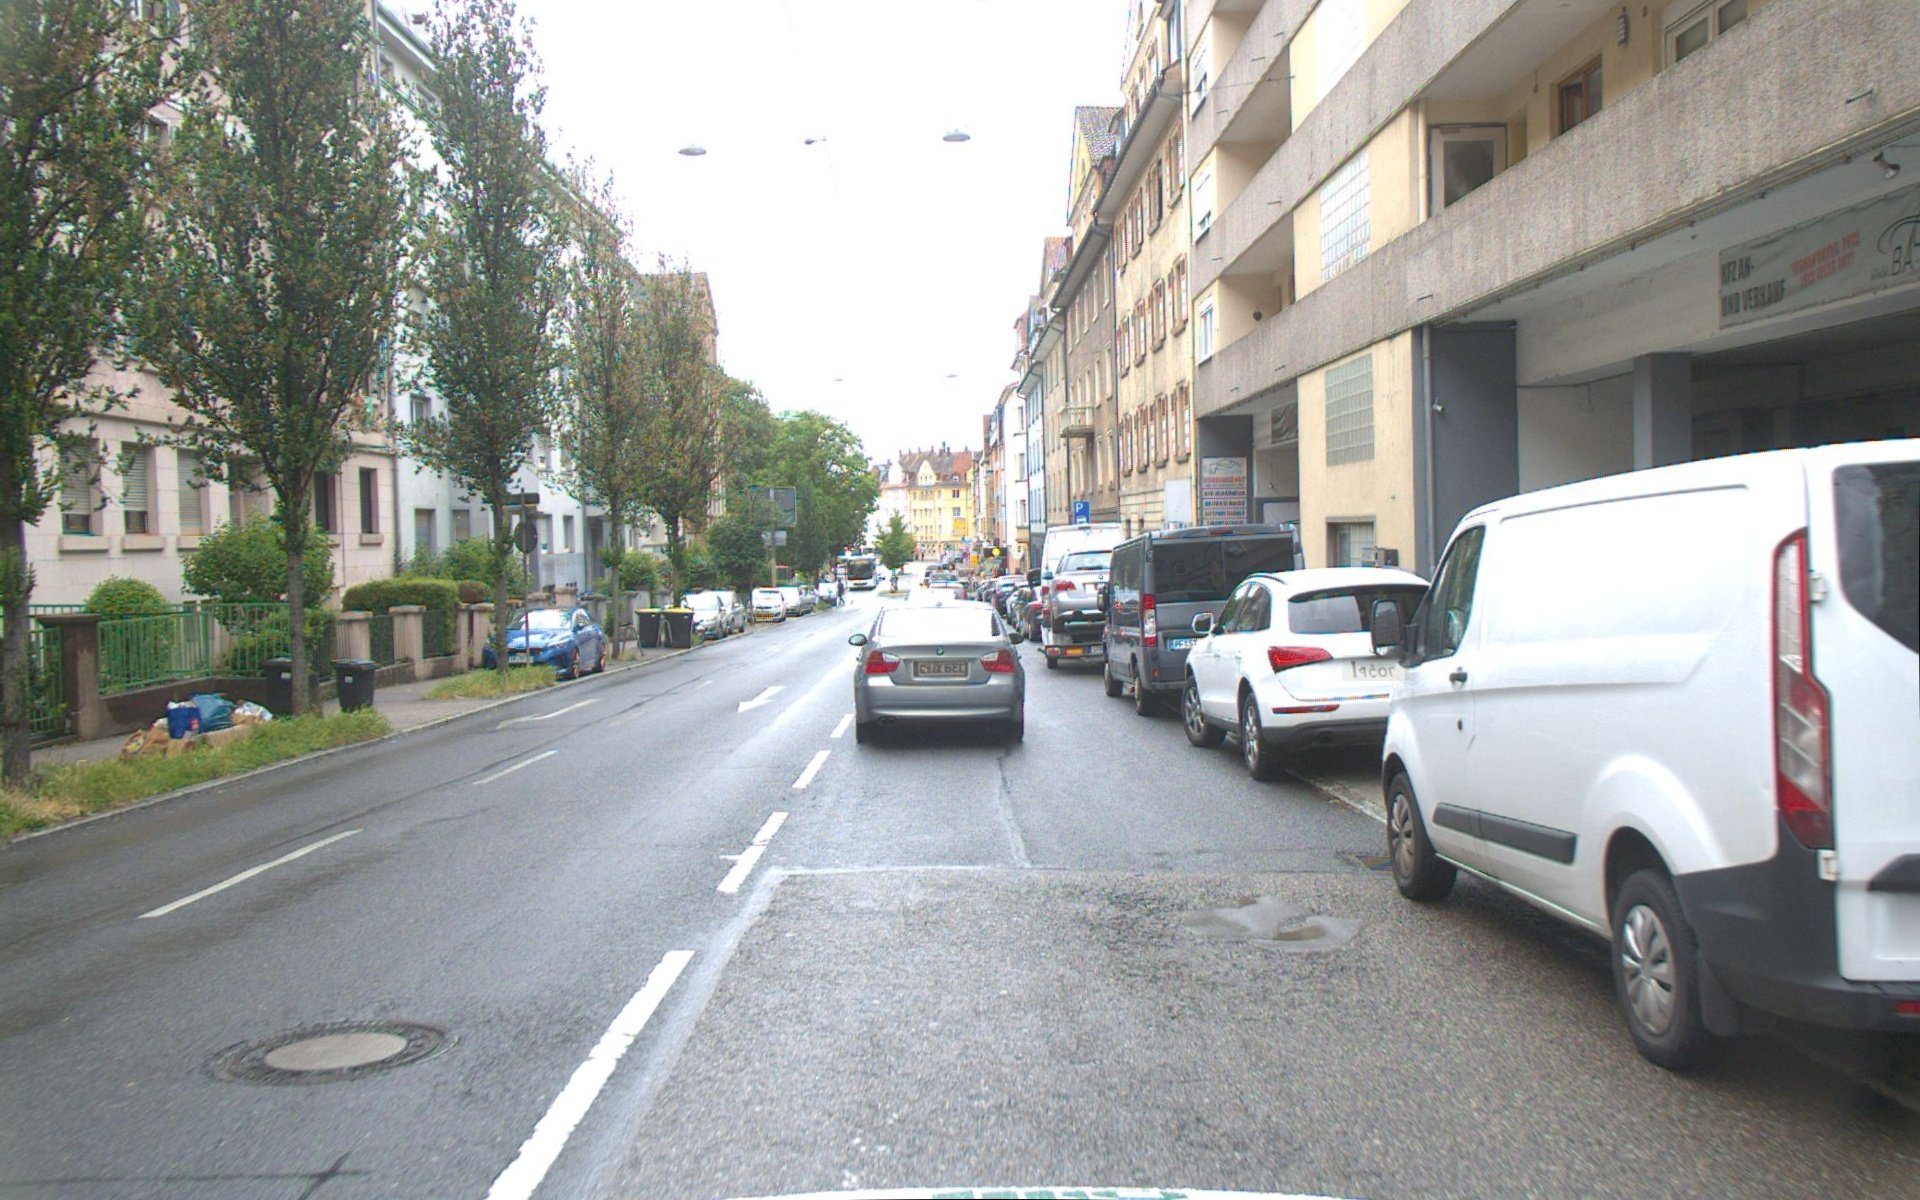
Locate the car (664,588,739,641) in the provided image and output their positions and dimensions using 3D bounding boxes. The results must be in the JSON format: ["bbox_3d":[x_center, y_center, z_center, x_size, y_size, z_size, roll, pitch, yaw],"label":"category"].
[{"bbox_3d":[-8.497,0.447,54.615,1.790,1.550,3.736,-4,1,0],"label":"car"}]

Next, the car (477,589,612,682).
[{"bbox_3d":[-8.280,0.659,33.265,1.731,1.621,3.999,-4,1,-2],"label":"car"}]

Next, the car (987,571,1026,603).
[{"bbox_3d":[2.236,-0.633,79.844,1.663,1.509,3.974,0,0,-2],"label":"car"}]

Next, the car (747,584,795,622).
[{"bbox_3d":[-8.577,0.122,75.205,1.656,1.550,3.736,-4,1,0],"label":"car"}]

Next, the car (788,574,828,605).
[{"bbox_3d":[-8.076,-0.569,88.028,1.656,1.550,3.736,-4,1,0],"label":"car"}]

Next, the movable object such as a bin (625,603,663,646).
[{"bbox_3d":[-9.008,0.686,47.195,0.883,1.189,0.895,-1,1,-1],"label":"movable object such as a bin"}]

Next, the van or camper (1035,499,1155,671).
[{"bbox_3d":[2.491,-0.305,31.976,1.991,2.919,6.888,1,1,3],"label":"van or camper"}]

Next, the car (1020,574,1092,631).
[{"bbox_3d":[2.615,0.072,45.949,1.663,1.509,3.974,0,0,-2],"label":"car"}]

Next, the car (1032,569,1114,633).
[{"bbox_3d":[2.742,0.014,40.857,1.663,1.509,3.792,0,0,-2],"label":"car"}]

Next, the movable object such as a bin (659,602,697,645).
[{"bbox_3d":[-8.035,0.654,47.213,0.916,1.189,0.909,-1,1,-1],"label":"movable object such as a bin"}]

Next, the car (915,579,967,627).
[{"bbox_3d":[-0.646,0.077,54.127,1.663,1.509,3.792,0,0,-2],"label":"car"}]

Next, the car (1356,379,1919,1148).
[{"bbox_3d":[3.214,0.375,6.755,1.942,2.042,4.624,-3,1,-1],"label":"car"}]

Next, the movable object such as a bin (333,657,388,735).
[{"bbox_3d":[-7.649,1.217,21.110,0.565,0.928,0.638,-3,0,-15],"label":"movable object such as a bin"}]

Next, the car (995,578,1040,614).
[{"bbox_3d":[2.415,-0.175,70.348,1.663,1.509,3.974,0,0,-2],"label":"car"}]

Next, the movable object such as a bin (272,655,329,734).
[{"bbox_3d":[-8.374,1.191,21.014,0.565,0.928,0.638,-3,0,-15],"label":"movable object such as a bin"}]

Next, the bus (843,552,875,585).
[{"bbox_3d":[-9.866,-3.082,162.369,2.614,3.076,7.669,-3,1,-1],"label":"bus"}]

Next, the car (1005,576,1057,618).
[{"bbox_3d":[2.628,-0.110,61.848,1.663,1.509,3.974,0,0,-2],"label":"car"}]

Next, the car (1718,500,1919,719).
[{"bbox_3d":[8.568,0.001,13.313,4.195,1.669,1.669,-2,2,12],"label":"car"}]

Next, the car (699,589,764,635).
[{"bbox_3d":[-8.484,0.419,61.752,1.790,1.550,3.736,-4,1,0],"label":"car"}]

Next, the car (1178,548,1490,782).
[{"bbox_3d":[3.129,0.471,14.722,1.691,1.699,4.288,-3,1,-1],"label":"car"}]

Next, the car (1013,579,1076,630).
[{"bbox_3d":[2.588,0.138,51.437,1.663,1.509,3.974,0,0,-2],"label":"car"}]

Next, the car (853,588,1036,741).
[{"bbox_3d":[-0.140,0.610,17.599,1.733,1.453,3.741,0,0,0],"label":"car"}]

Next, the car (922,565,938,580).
[{"bbox_3d":[-3.280,-2.940,179.062,1.663,1.508,3.792,-3,1,-2],"label":"car"}]

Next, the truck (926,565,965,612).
[{"bbox_3d":[-0.806,-0.596,88.615,1.991,2.455,4.825,0,0,-2],"label":"truck"}]

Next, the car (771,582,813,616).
[{"bbox_3d":[-8.377,-0.062,82.736,1.656,1.550,3.736,-4,1,0],"label":"car"}]

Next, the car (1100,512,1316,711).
[{"bbox_3d":[3.063,0.108,21.448,1.942,2.203,4.749,-3,1,-1],"label":"car"}]

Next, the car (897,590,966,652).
[{"bbox_3d":[-0.667,0.493,41.063,1.647,1.453,3.741,0,0,0],"label":"car"}]
